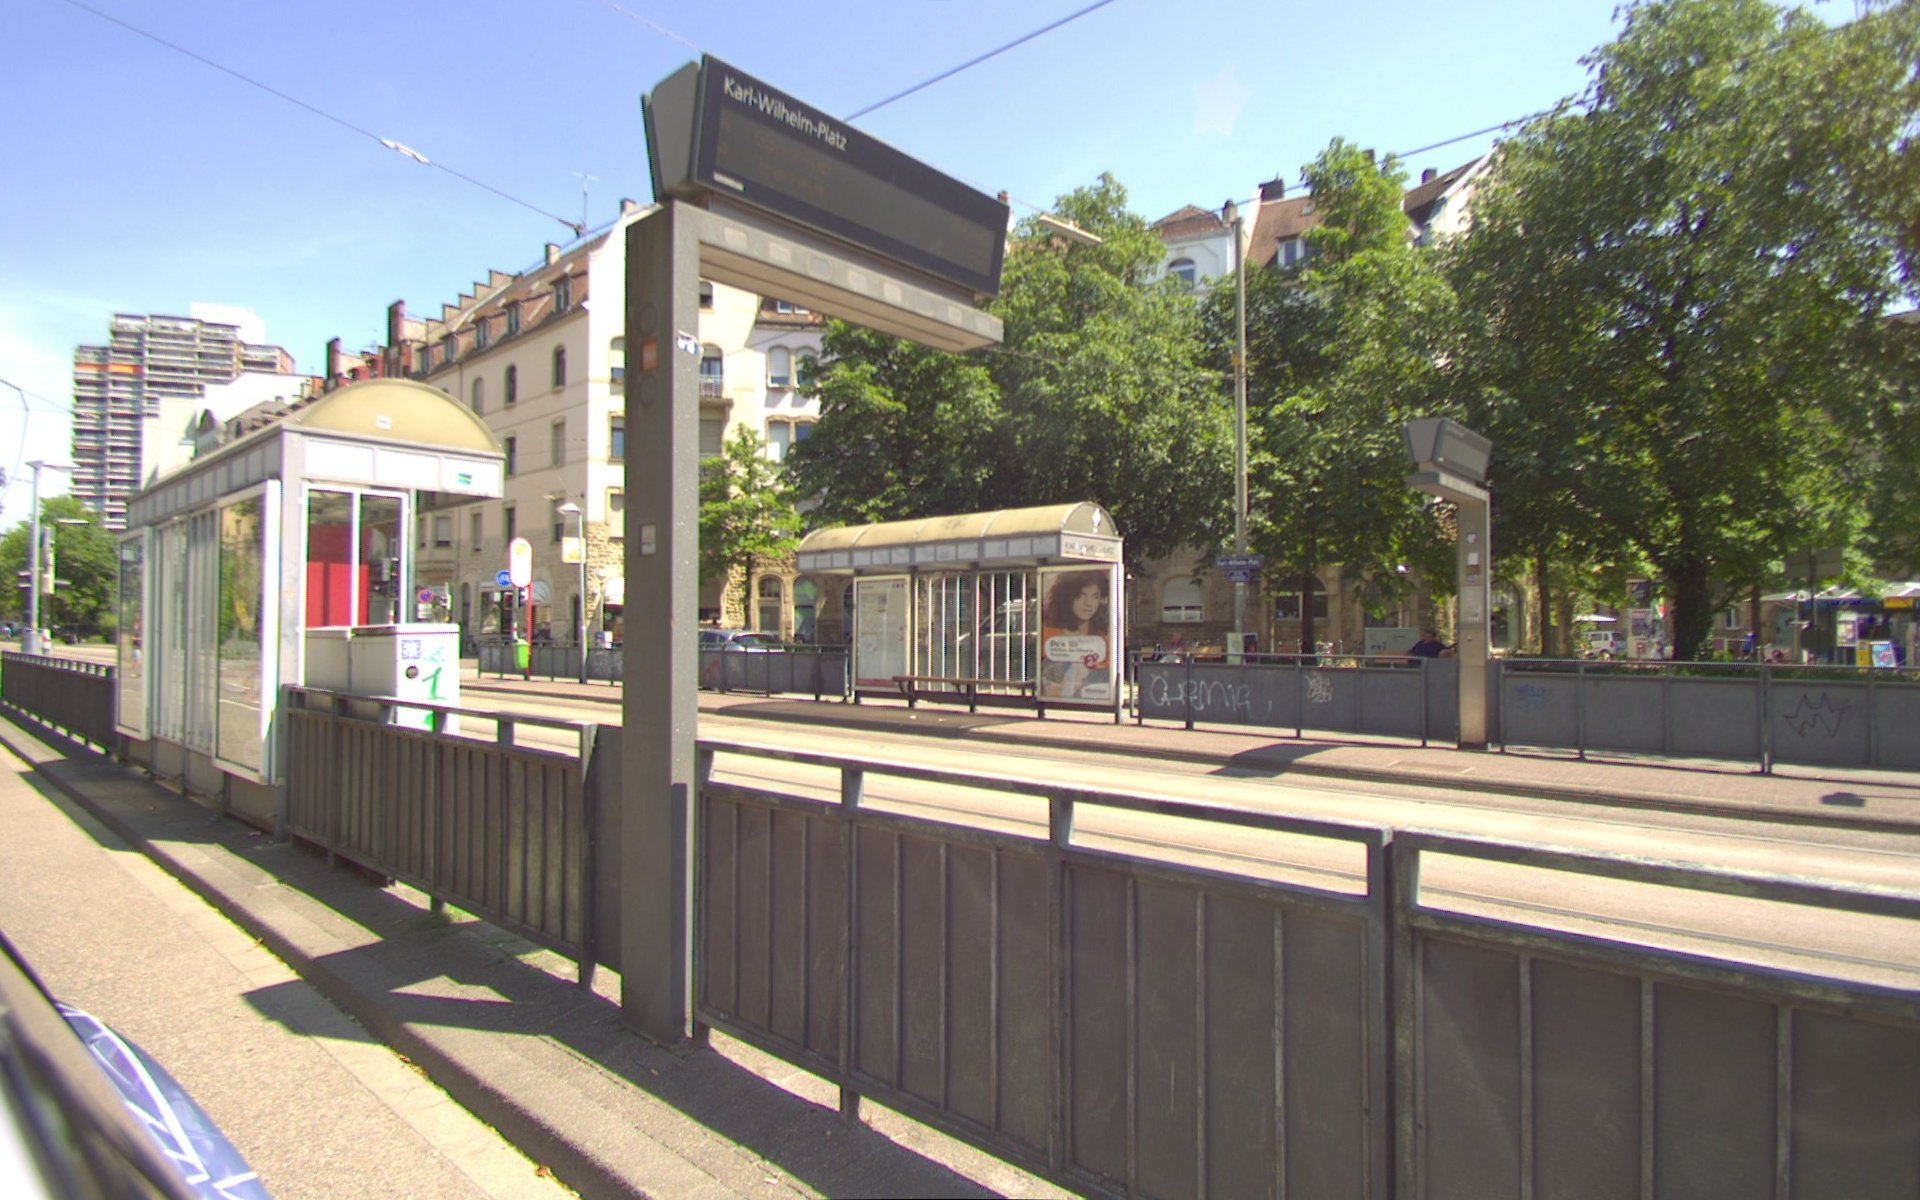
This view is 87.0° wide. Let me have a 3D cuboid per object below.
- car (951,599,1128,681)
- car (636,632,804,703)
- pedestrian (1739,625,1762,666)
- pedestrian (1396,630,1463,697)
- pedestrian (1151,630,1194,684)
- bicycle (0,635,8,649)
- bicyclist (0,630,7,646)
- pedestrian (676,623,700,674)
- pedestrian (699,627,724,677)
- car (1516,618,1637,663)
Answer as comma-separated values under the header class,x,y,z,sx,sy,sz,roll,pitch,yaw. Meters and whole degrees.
class,x,y,z,sx,sy,sz,roll,pitch,yaw
car,2.787,1.357,35.429,5.787,2.693,2.258,-1,0,22
car,-5.590,1.489,23.355,3.998,1.404,1.789,-1,0,41
pedestrian,32.234,1.855,41.271,0.483,1.683,0.517,1,-2,-27
pedestrian,9.290,1.239,20.033,0.852,1.253,0.939,-1,0,-43
pedestrian,5.101,1.356,24.308,0.930,1.253,0.860,-1,0,17
bicycle,-109.539,4.809,115.835,1.969,1.524,0.636,-1,0,39
bicyclist,-109.546,4.334,115.825,0.715,1.889,0.636,-1,0,39
pedestrian,-8.892,1.573,33.082,0.473,1.659,0.586,-2,-3,41
pedestrian,-7.975,1.659,32.488,0.473,1.563,0.586,-2,-3,39
car,26.727,1.704,44.002,1.966,1.803,4.011,-1,0,-33
